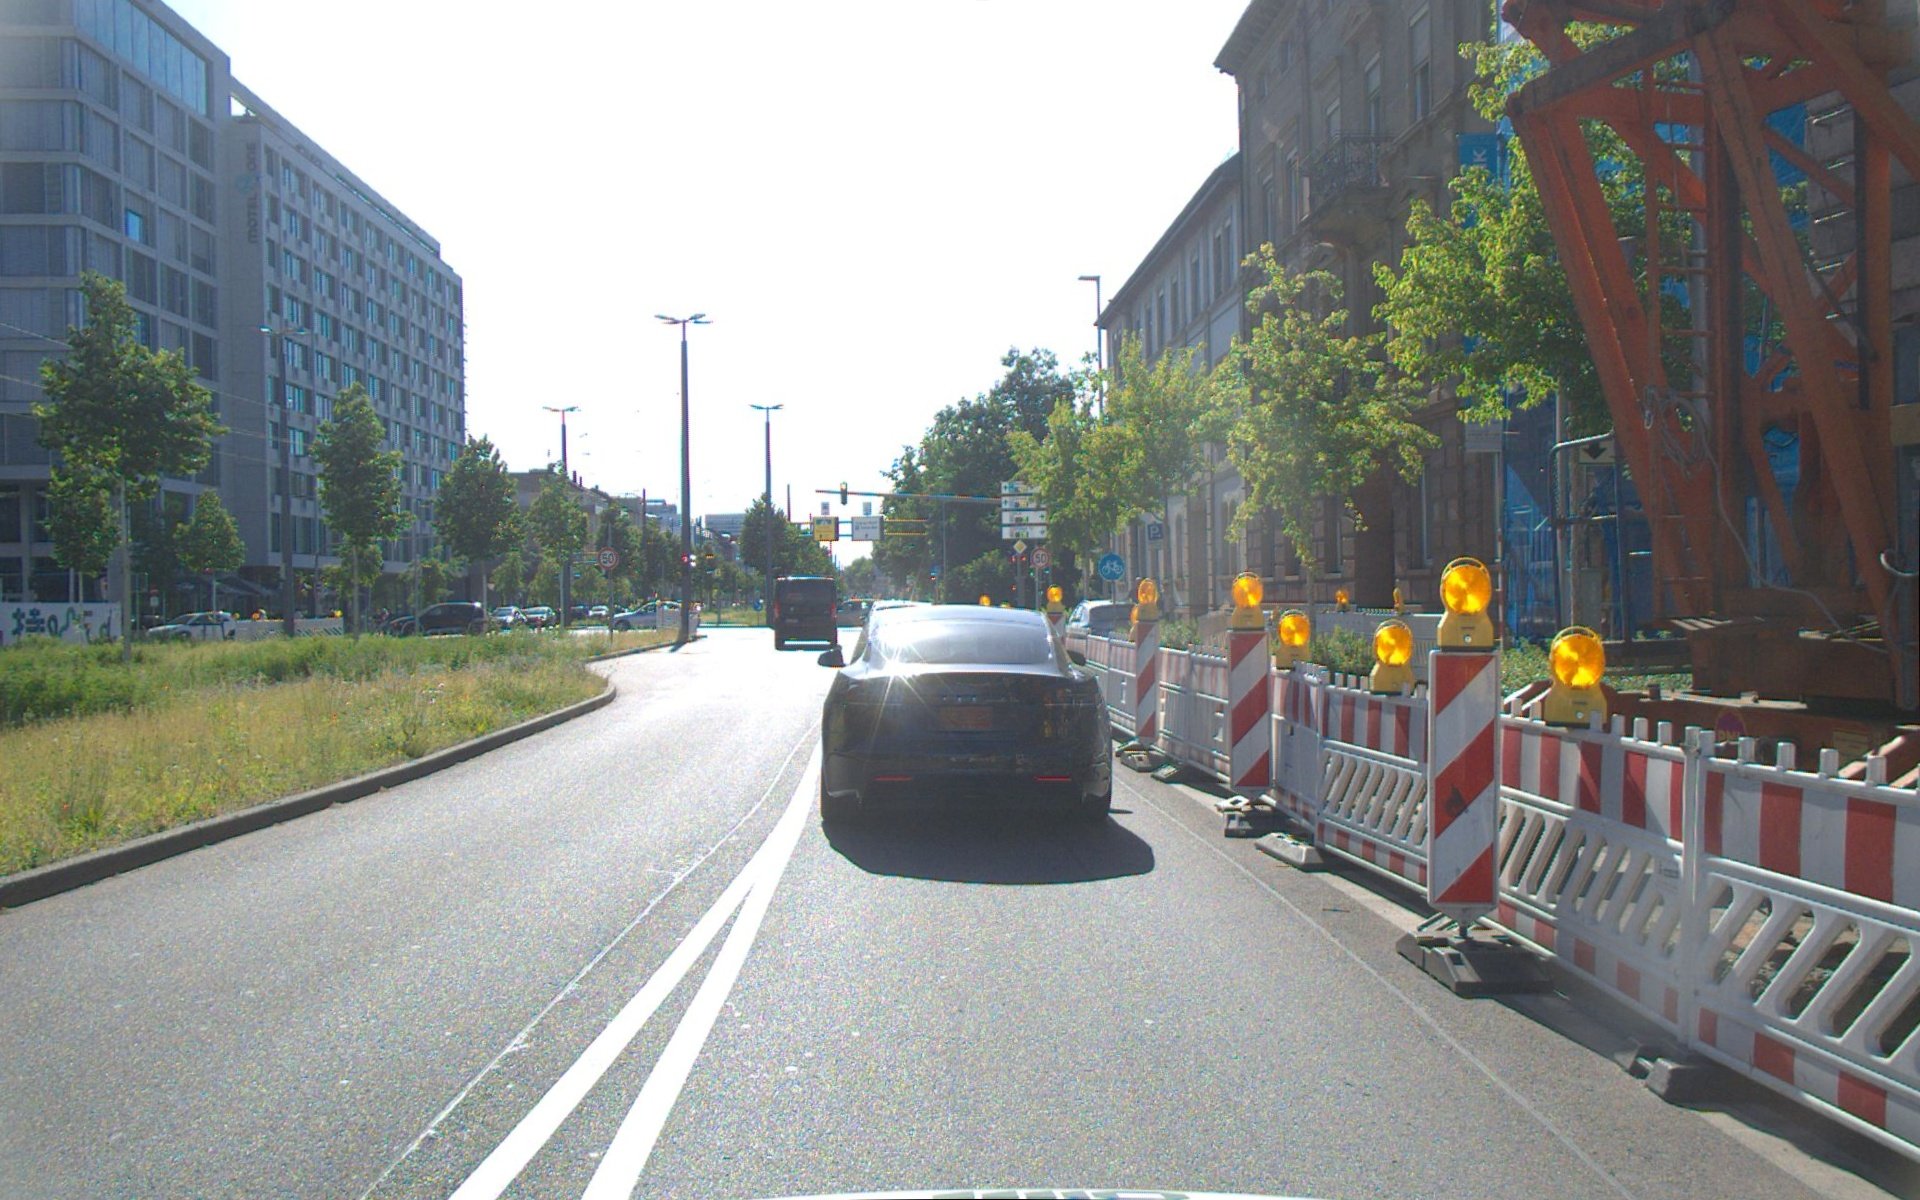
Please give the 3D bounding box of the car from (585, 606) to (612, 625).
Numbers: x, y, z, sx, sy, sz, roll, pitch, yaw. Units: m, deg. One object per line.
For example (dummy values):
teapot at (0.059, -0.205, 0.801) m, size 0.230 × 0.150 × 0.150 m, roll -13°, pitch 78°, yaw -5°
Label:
car at (-33.926, 1.436, 155.459) m, size 1.754 × 1.680 × 3.998 m, roll -1°, pitch 0°, yaw -2°

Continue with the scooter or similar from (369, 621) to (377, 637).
scooter or similar at (-35.045, 1.722, 98.724) m, size 0.280 × 0.964 × 0.765 m, roll -1°, pitch 0°, yaw -10°

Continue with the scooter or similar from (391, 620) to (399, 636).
scooter or similar at (-33.753, 1.661, 98.883) m, size 0.224 × 0.964 × 0.767 m, roll -1°, pitch 0°, yaw -2°

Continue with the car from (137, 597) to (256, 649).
car at (-30.620, 0.910, 66.425) m, size 1.873 × 1.952 × 3.978 m, roll -1°, pitch 0°, yaw 30°

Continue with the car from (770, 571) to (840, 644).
car at (-5.032, 0.221, 54.279) m, size 2.174 × 2.307 × 4.480 m, roll 0°, pitch 1°, yaw -4°

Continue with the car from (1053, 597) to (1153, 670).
car at (3.306, 0.731, 39.114) m, size 1.615 × 1.501 × 4.697 m, roll -4°, pitch 0°, yaw -3°

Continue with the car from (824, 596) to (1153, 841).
car at (0.056, 0.715, 12.350) m, size 2.010 × 1.469 × 4.521 m, roll 0°, pitch 0°, yaw -3°

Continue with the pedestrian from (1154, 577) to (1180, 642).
pedestrian at (6.086, 0.271, 48.690) m, size 0.552 × 1.852 × 0.587 m, roll -4°, pitch 0°, yaw -4°

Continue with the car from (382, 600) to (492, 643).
car at (-23.883, 0.952, 75.598) m, size 4.464 × 1.824 × 1.980 m, roll -1°, pitch 0°, yaw -30°

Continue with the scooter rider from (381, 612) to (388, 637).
scooter rider at (-34.544, 1.454, 99.236) m, size 0.335 × 1.478 × 0.239 m, roll -1°, pitch 0°, yaw -3°

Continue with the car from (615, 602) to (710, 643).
car at (-14.468, 1.070, 80.524) m, size 4.431 × 1.824 × 1.995 m, roll -1°, pitch 0°, yaw -11°

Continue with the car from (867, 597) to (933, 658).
car at (-1.619, 0.714, 44.584) m, size 1.714 × 1.554 × 4.003 m, roll 0°, pitch 0°, yaw -2°

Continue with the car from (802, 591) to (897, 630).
car at (-5.357, 0.500, 80.844) m, size 4.418 × 1.824 × 2.000 m, roll -1°, pitch 0°, yaw 2°

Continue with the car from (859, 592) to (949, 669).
car at (-1.208, 0.575, 34.202) m, size 1.713 × 1.452 × 4.835 m, roll 0°, pitch 0°, yaw -3°

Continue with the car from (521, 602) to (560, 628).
car at (-28.676, 1.030, 113.166) m, size 1.754 × 1.680 × 3.998 m, roll -1°, pitch 0°, yaw -2°

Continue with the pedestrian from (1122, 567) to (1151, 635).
pedestrian at (5.191, 0.019, 48.716) m, size 0.645 × 1.946 × 0.587 m, roll -4°, pitch 0°, yaw -4°

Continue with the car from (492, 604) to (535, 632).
car at (-28.265, 1.129, 104.836) m, size 1.754 × 1.680 × 3.998 m, roll -1°, pitch 0°, yaw -2°
